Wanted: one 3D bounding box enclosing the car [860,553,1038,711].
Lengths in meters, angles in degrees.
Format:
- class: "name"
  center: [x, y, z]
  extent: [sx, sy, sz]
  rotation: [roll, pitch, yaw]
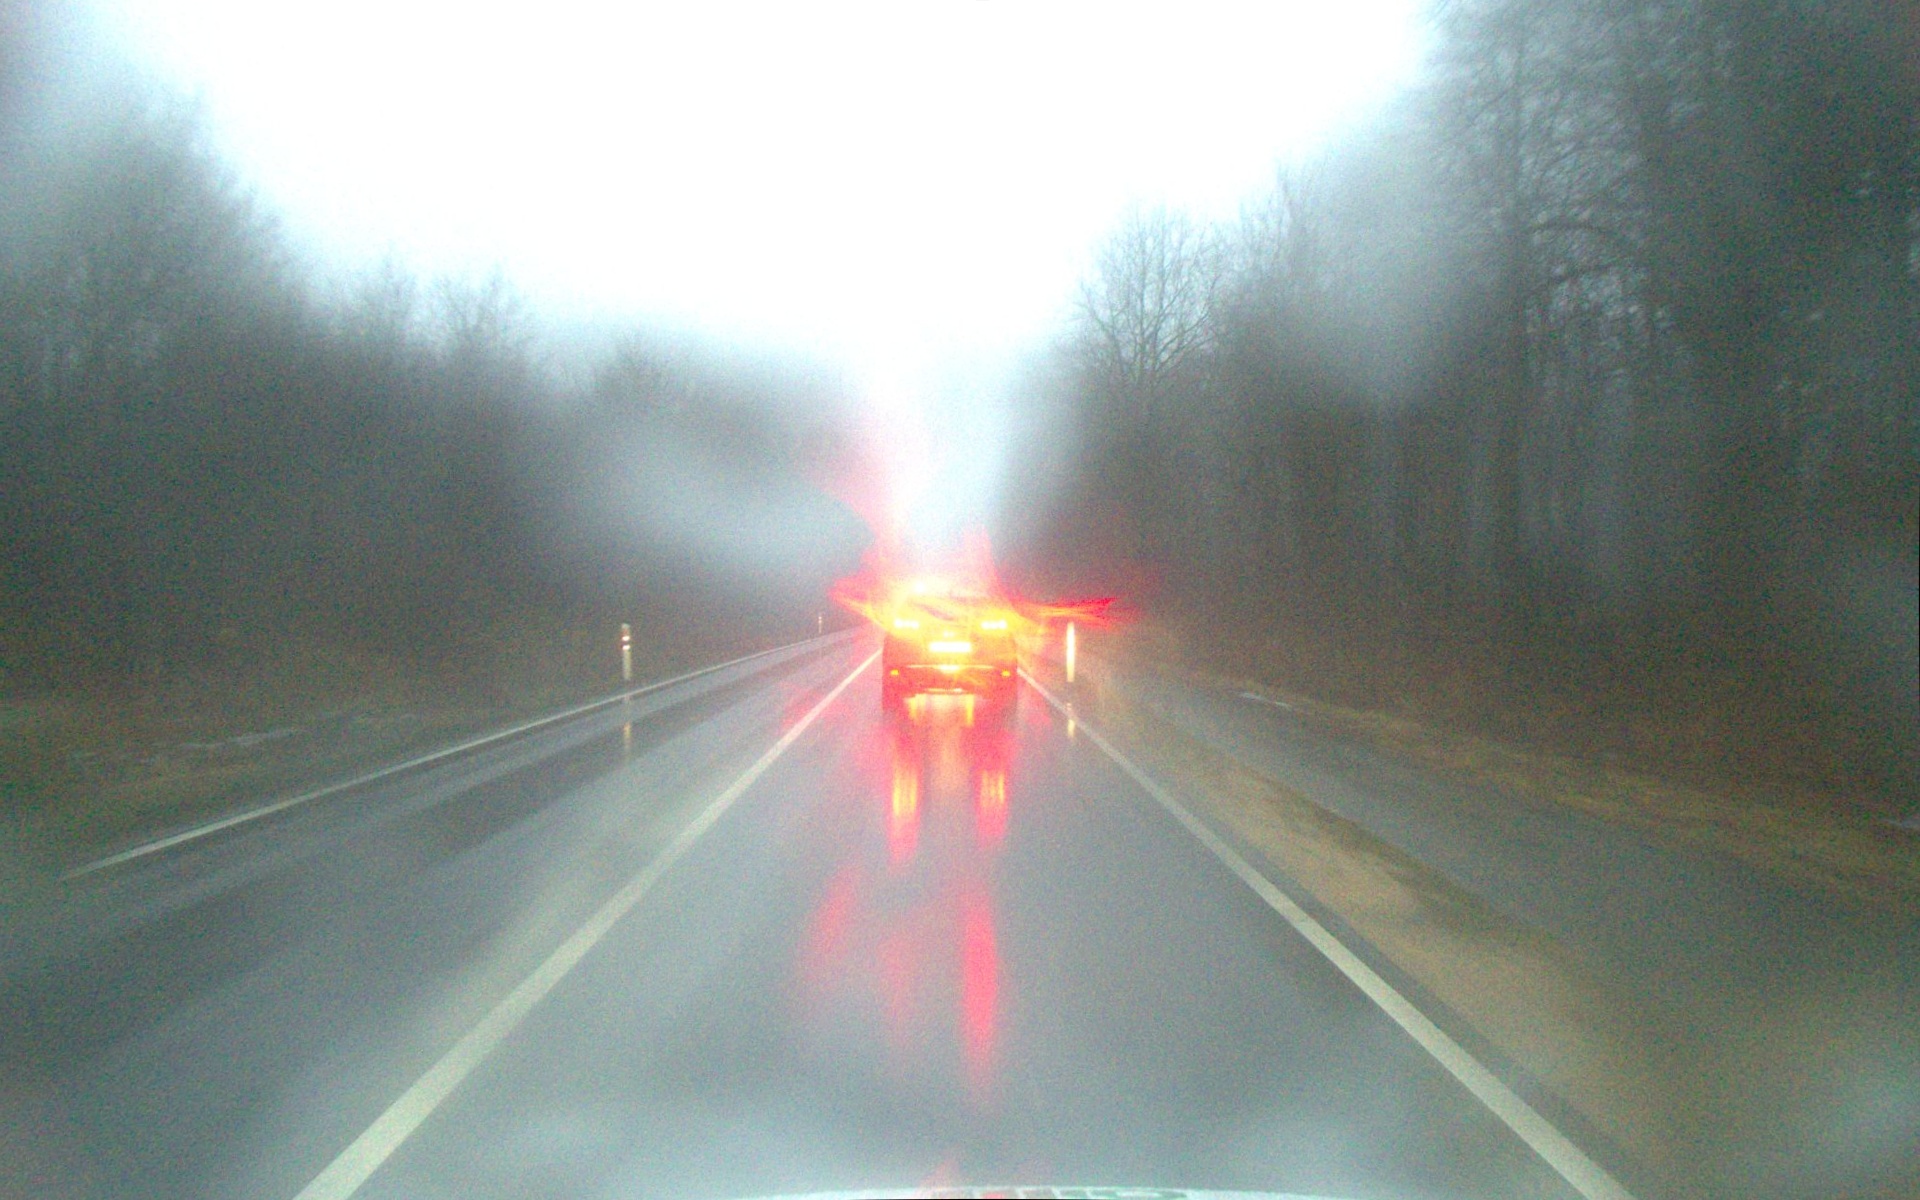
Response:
- class: "car"
  center: [-0.183, 0.378, 22.699]
  extent: [2.153, 1.910, 4.826]
  rotation: [1, 0, -1]
